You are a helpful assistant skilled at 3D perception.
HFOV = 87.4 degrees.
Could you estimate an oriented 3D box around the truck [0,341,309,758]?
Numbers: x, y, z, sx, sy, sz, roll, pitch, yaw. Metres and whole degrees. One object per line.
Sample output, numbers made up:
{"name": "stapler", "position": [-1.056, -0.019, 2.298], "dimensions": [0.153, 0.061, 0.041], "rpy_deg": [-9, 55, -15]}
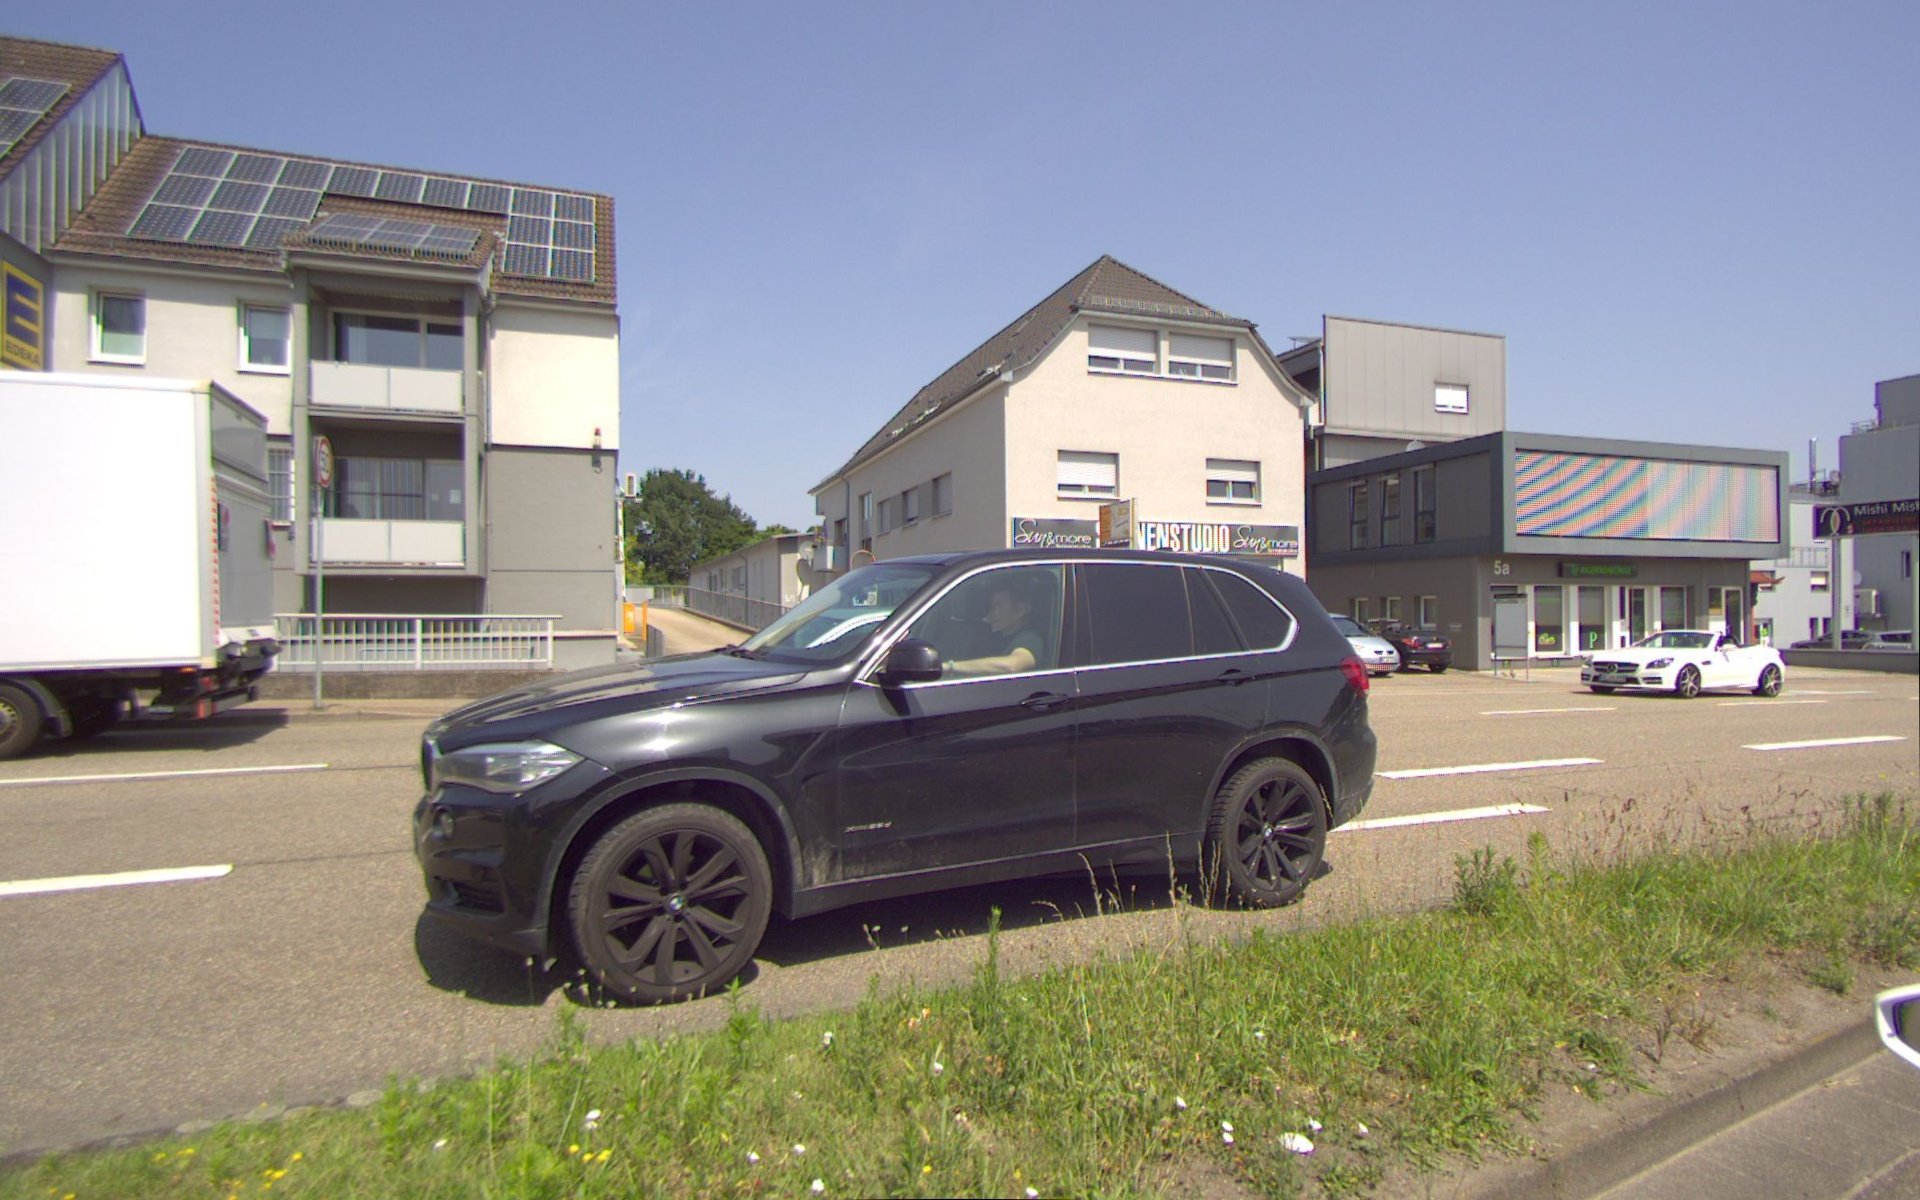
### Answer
{"name": "truck", "position": [-9.975, -0.441, 8.678], "dimensions": [6.940, 3.463, 2.259], "rpy_deg": [1, -1, -24]}

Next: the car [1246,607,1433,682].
{"name": "car", "position": [9.729, 1.073, 26.196], "dimensions": [1.729, 1.517, 4.589], "rpy_deg": [1, 3, -26]}

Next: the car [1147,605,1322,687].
{"name": "car", "position": [6.683, 1.050, 25.012], "dimensions": [1.826, 1.649, 4.598], "rpy_deg": [1, 2, -21]}

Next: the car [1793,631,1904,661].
{"name": "car", "position": [47.108, 2.411, 53.337], "dimensions": [1.937, 1.487, 3.960], "rpy_deg": [0, -2, -25]}

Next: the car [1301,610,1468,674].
{"name": "car", "position": [11.742, 1.125, 28.057], "dimensions": [1.972, 1.541, 4.046], "rpy_deg": [1, 0, -23]}

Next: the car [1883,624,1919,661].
{"name": "car", "position": [37.631, 1.580, 37.755], "dimensions": [1.642, 1.389, 3.996], "rpy_deg": [-1, -3, -18]}

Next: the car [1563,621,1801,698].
{"name": "car", "position": [14.158, 1.129, 19.695], "dimensions": [4.292, 1.372, 1.801], "rpy_deg": [1, -1, -22]}

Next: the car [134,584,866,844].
{"name": "car", "position": [-2.952, 0.667, 7.139], "dimensions": [4.144, 1.379, 1.890], "rpy_deg": [2, -1, -27]}

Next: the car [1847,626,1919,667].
{"name": "car", "position": [35.159, 1.714, 36.617], "dimensions": [1.554, 1.478, 3.976], "rpy_deg": [2, -2, -25]}

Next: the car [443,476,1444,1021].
{"name": "car", "position": [0.045, 0.559, 5.172], "dimensions": [4.697, 1.774, 1.902], "rpy_deg": [2, -1, -26]}
